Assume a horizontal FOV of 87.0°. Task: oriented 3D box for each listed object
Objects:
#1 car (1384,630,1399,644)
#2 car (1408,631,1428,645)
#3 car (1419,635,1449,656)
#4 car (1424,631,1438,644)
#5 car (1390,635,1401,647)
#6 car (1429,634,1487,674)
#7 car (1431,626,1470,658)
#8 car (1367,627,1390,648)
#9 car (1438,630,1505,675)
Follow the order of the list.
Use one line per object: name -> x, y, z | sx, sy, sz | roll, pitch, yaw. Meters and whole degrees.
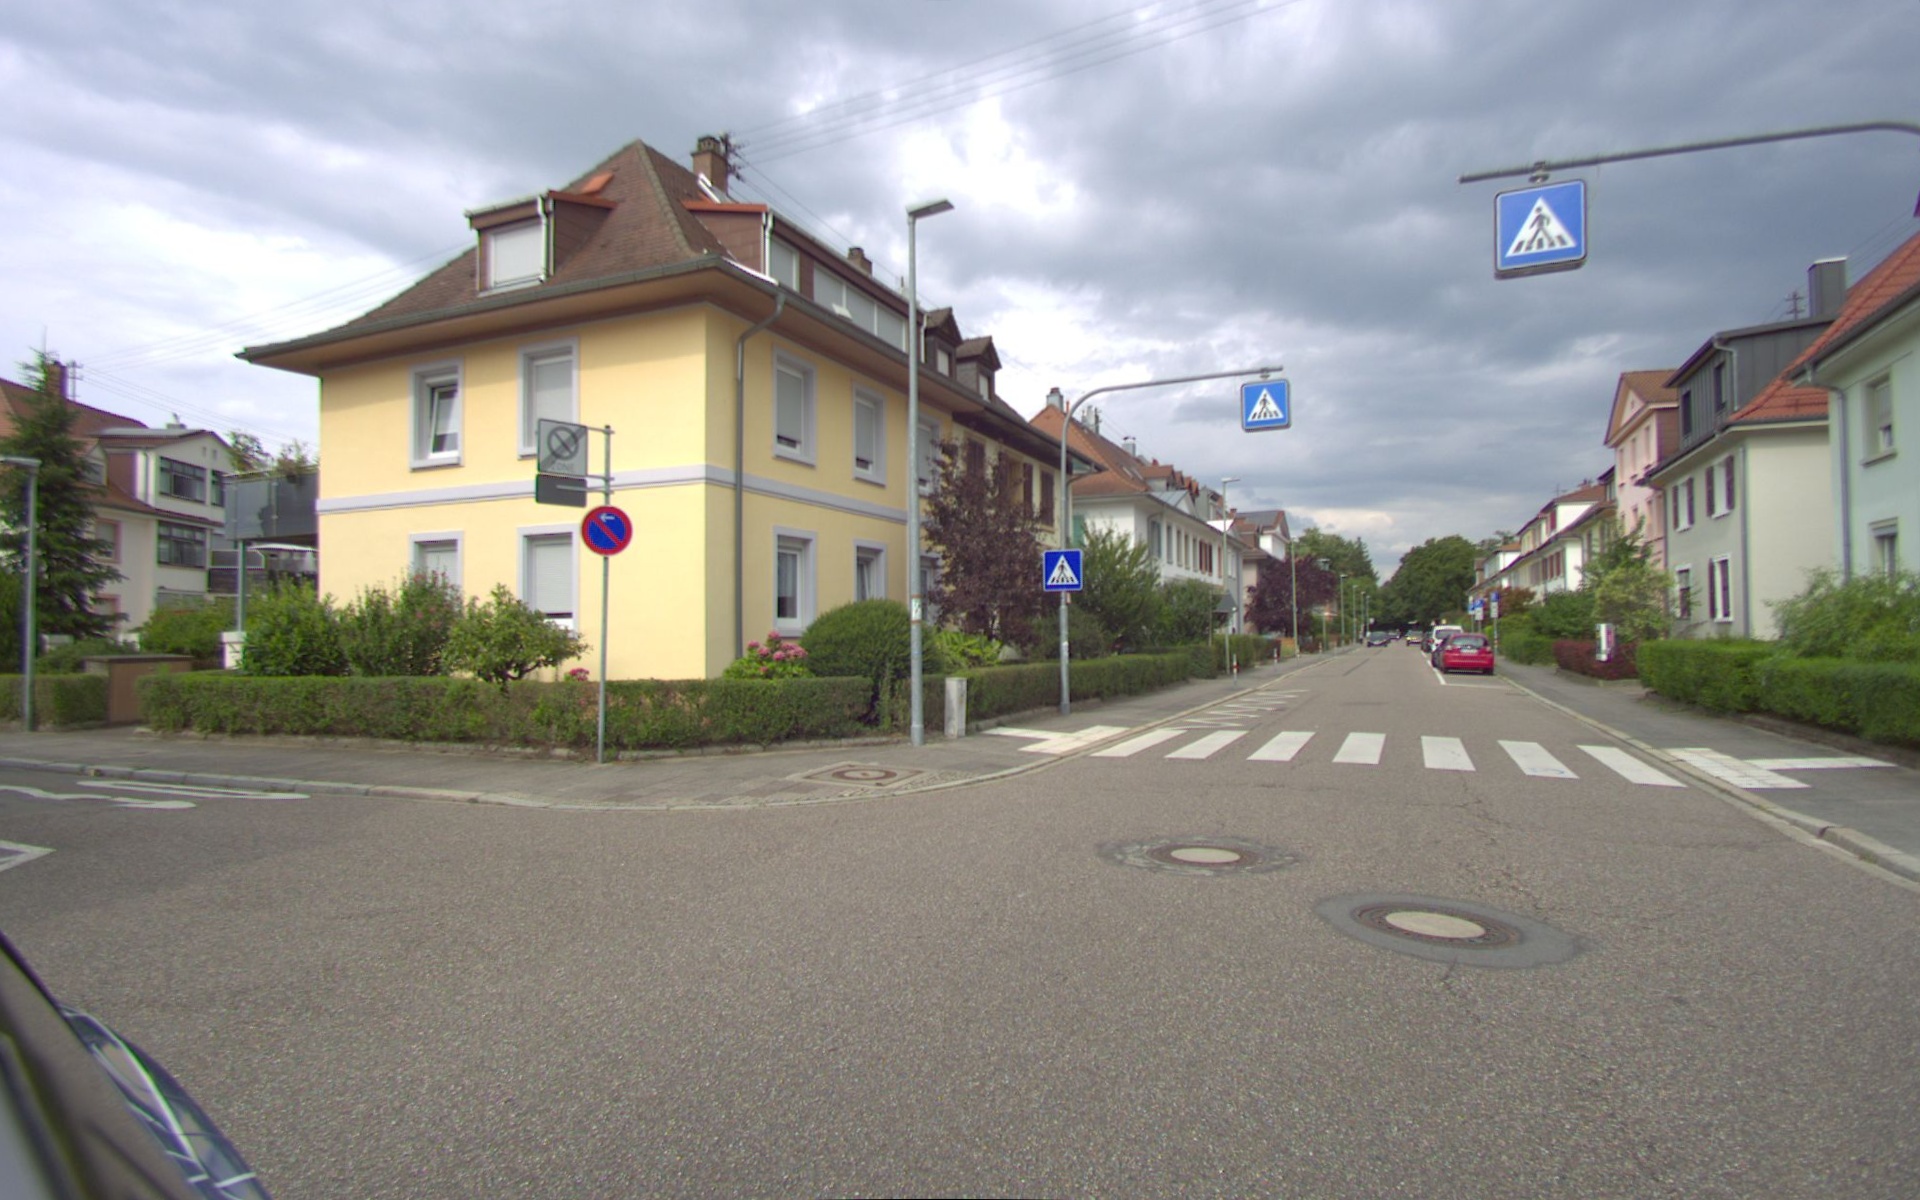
car -> 58.892, 5.053, 138.143 | 1.801, 1.894, 3.916 | -2, -2, 24
car -> 48.656, 4.030, 107.599 | 1.825, 1.497, 3.969 | 0, -2, 23
car -> 36.384, 3.495, 77.762 | 1.988, 1.586, 3.967 | -2, -2, 24
car -> 74.259, 5.965, 159.557 | 1.988, 2.029, 3.967 | 0, -2, 24
car -> 75.563, 7.180, 175.740 | 1.618, 2.029, 3.879 | -1, -2, 22
car -> 20.908, 2.242, 42.607 | 1.988, 1.586, 3.967 | -2, -2, 24
car -> 30.589, 2.601, 63.212 | 1.988, 1.918, 3.967 | -2, -2, 24
car -> 42.011, 3.745, 101.585 | 1.988, 2.029, 3.967 | -1, -2, 24
car -> 19.017, 1.917, 37.777 | 1.988, 1.586, 3.967 | -2, -2, 24
